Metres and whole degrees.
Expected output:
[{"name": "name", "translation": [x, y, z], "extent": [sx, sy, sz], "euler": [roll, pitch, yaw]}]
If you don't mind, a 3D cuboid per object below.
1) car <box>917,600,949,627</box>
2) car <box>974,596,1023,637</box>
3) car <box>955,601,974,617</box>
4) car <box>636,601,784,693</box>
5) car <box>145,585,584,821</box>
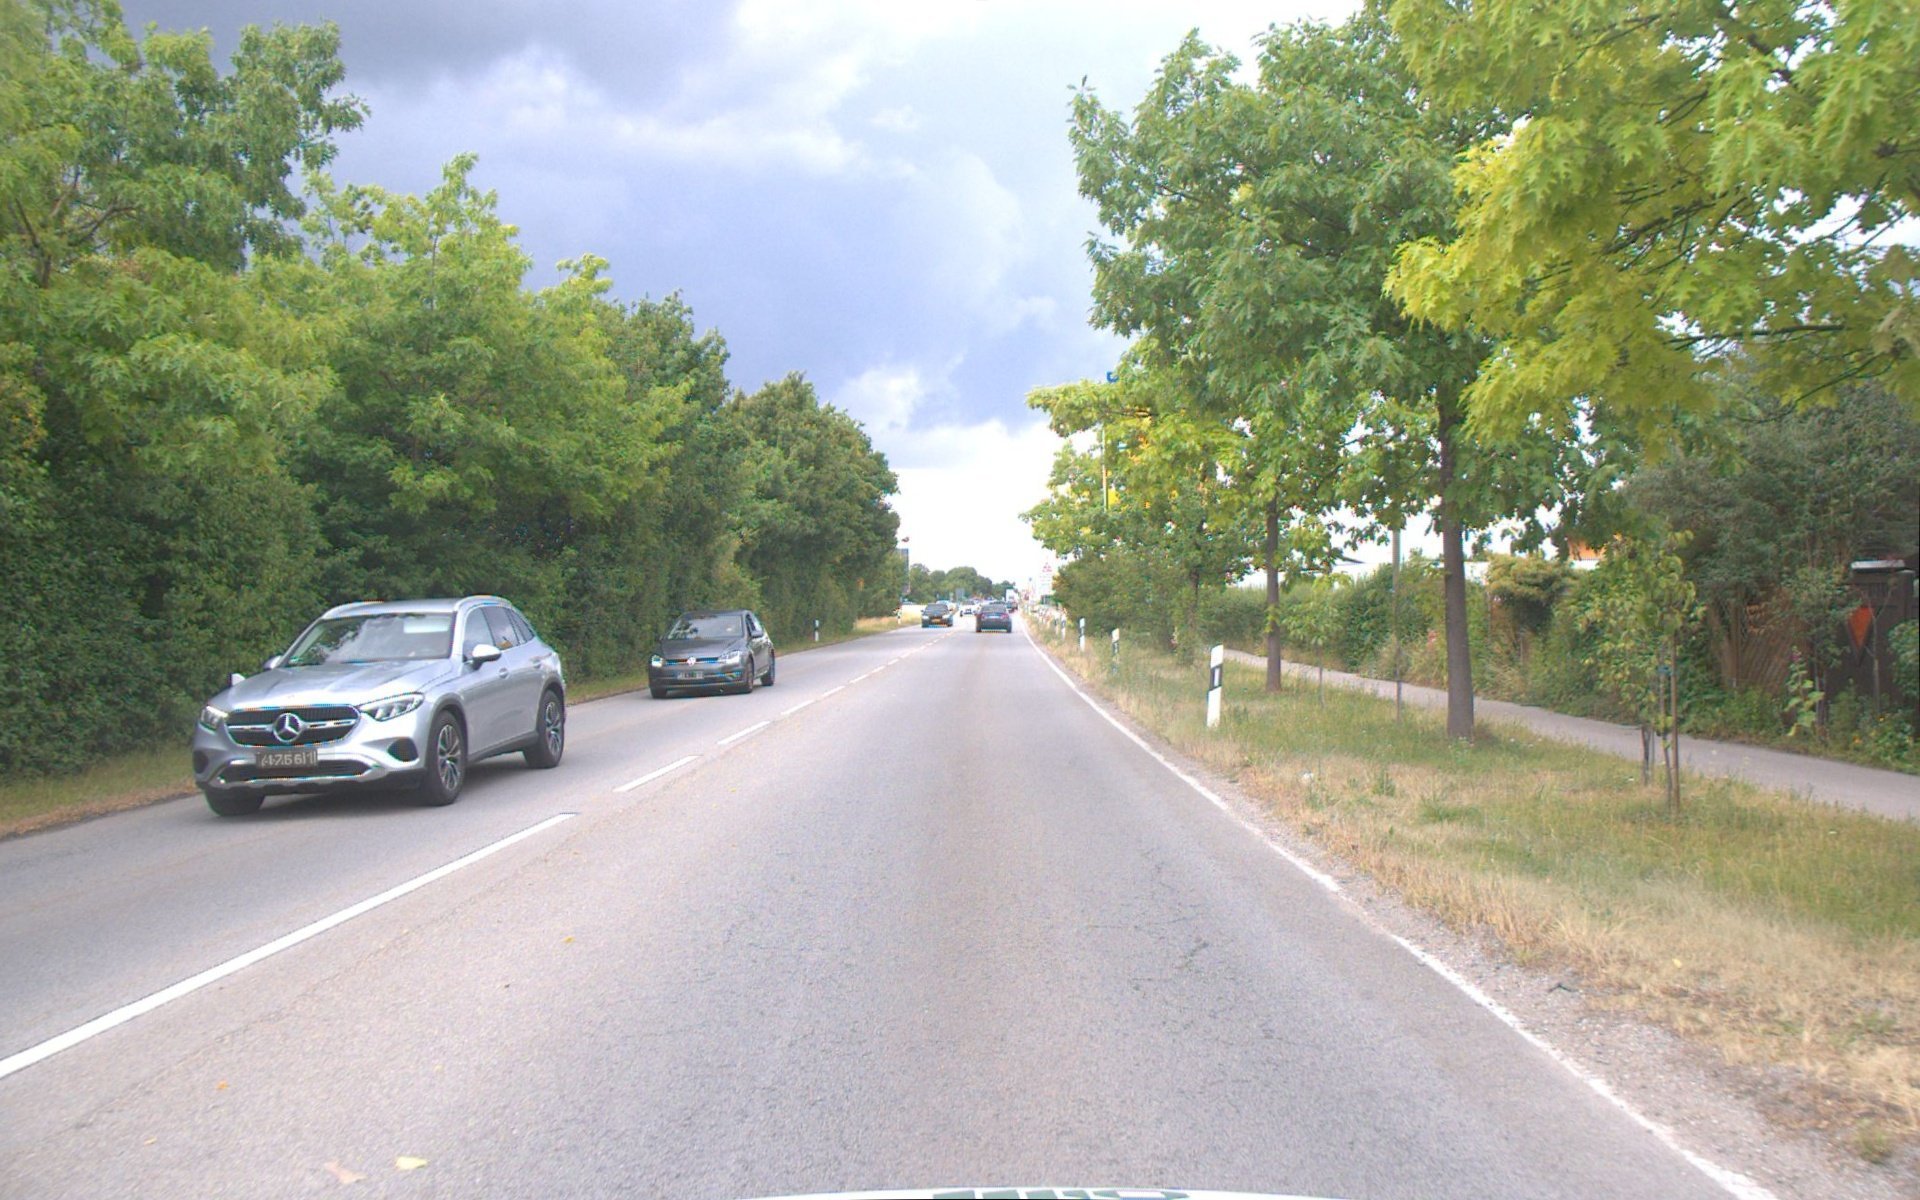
[{"name": "car", "translation": [-1.692, 0.847, 105.560], "extent": [1.901, 1.614, 4.555], "euler": [-2, -1, 0]}, {"name": "car", "translation": [1.924, 0.837, 83.831], "extent": [2.323, 1.913, 4.477], "euler": [-2, -1, 0]}, {"name": "car", "translation": [0.504, 0.954, 182.692], "extent": [1.952, 1.713, 4.810], "euler": [-1, 0, 2]}, {"name": "car", "translation": [-4.407, 0.805, 29.826], "extent": [1.953, 1.444, 4.477], "euler": [-2, -1, 0]}, {"name": "car", "translation": [-4.854, 0.766, 14.328], "extent": [1.952, 1.629, 4.666], "euler": [-2, -1, 2]}]
